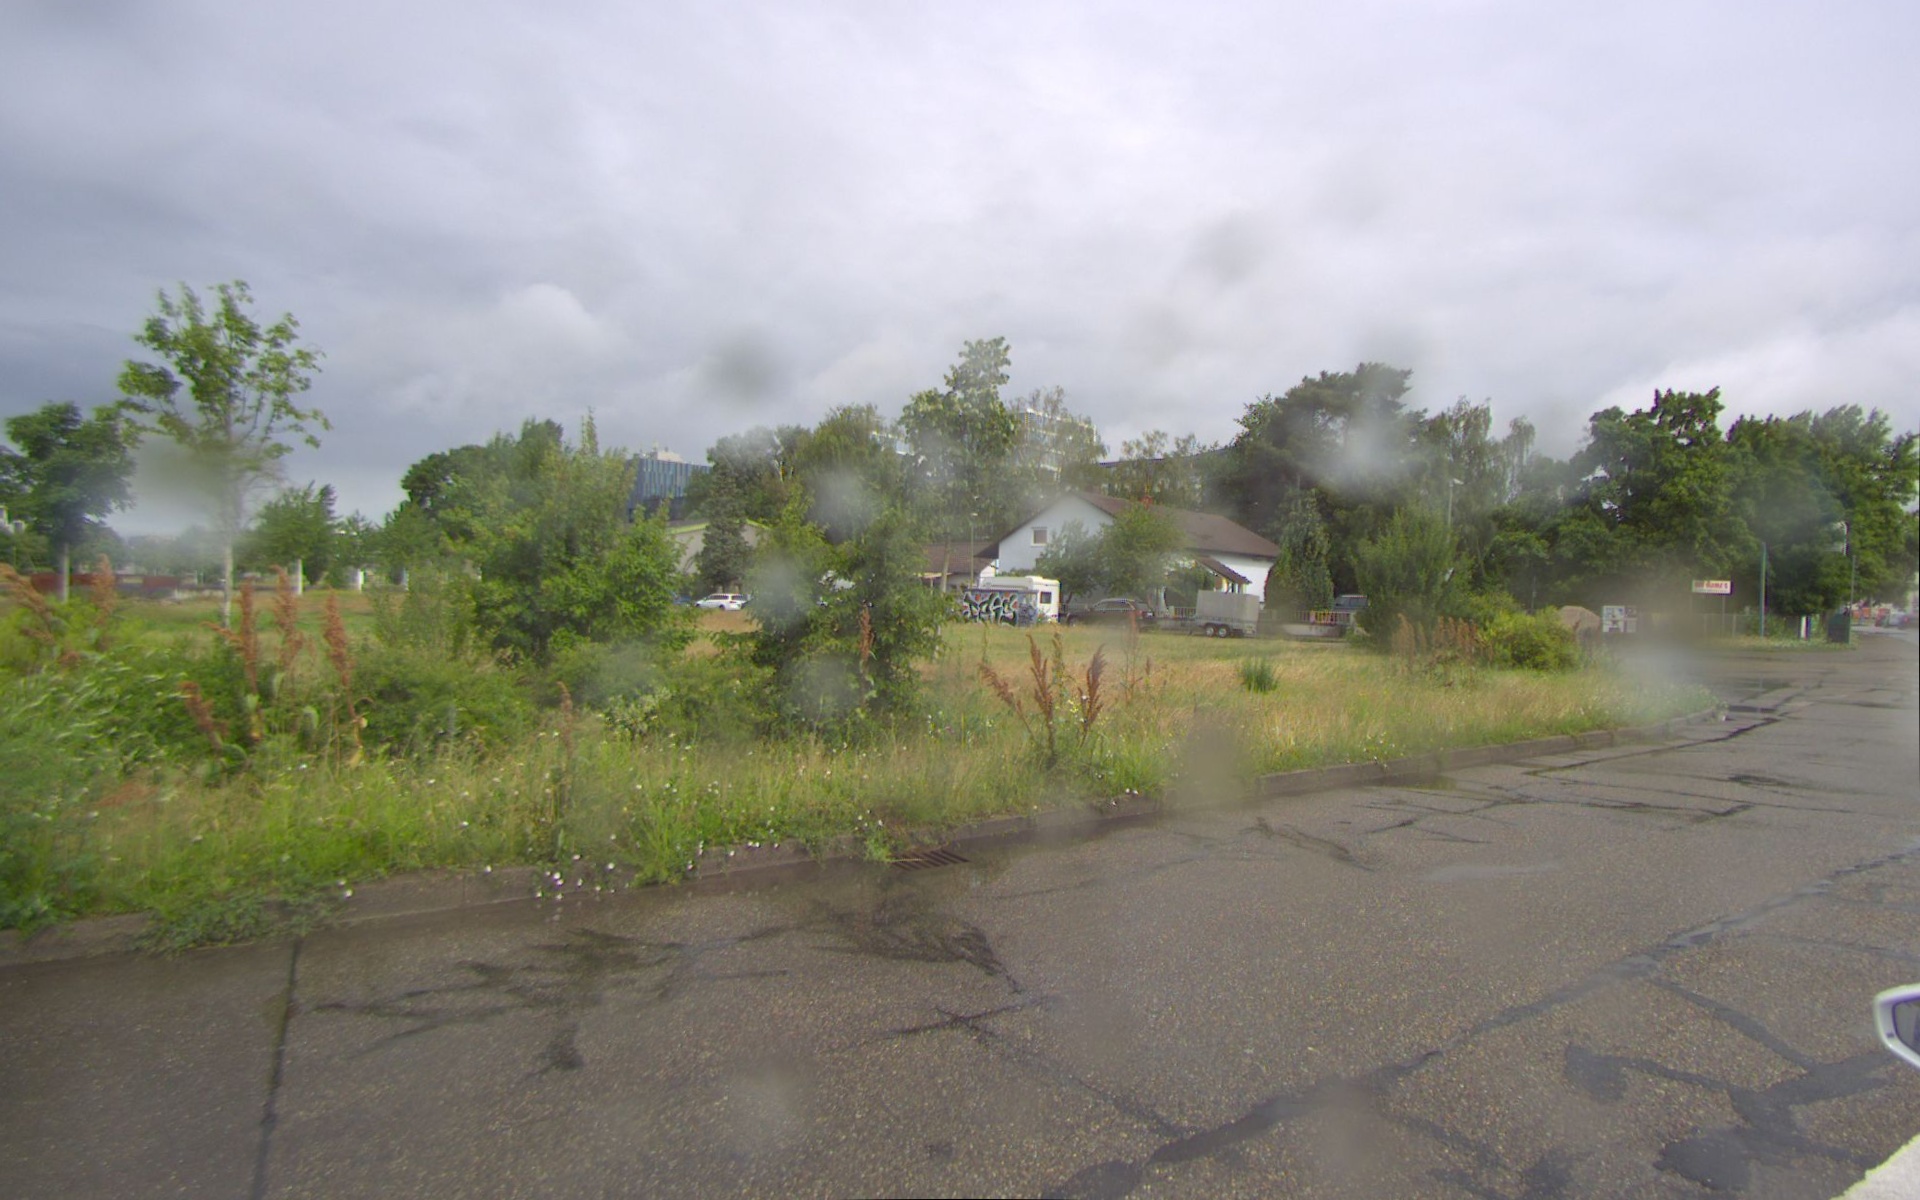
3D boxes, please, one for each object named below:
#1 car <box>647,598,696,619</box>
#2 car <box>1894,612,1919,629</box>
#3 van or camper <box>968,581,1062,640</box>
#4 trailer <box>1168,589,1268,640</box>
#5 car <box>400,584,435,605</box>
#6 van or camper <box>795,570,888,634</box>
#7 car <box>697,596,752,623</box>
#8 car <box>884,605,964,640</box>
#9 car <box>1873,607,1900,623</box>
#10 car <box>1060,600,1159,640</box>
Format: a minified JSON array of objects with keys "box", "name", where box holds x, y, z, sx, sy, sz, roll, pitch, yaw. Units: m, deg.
[{"box":[-21.217,0.596,73.760,3.943,1.417,1.636,1,0,43],"name":"car"},{"box":[96.980,2.071,102.677,1.819,1.663,3.998,1,0,39],"name":"car"},{"box":[2.909,0.516,53.544,4.452,2.985,2.470,1,1,43],"name":"van or camper"},{"box":[11.912,0.642,46.488,4.052,2.117,1.836,3,2,41],"name":"trailer"},{"box":[-55.888,-0.543,103.463,3.943,2.040,1.989,1,0,43],"name":"car"},{"box":[-7.460,0.076,62.804,5.768,3.794,2.639,1,1,43],"name":"van or camper"},{"box":[-16.390,0.653,69.849,3.943,1.726,1.871,1,0,43],"name":"car"},{"box":[-2.069,1.231,56.985,4.455,1.799,1.988,1,0,43],"name":"car"},{"box":[105.483,1.697,114.371,1.972,1.725,3.998,1,0,39],"name":"car"},{"box":[7.273,0.960,49.160,4.455,1.799,1.988,1,0,43],"name":"car"}]
